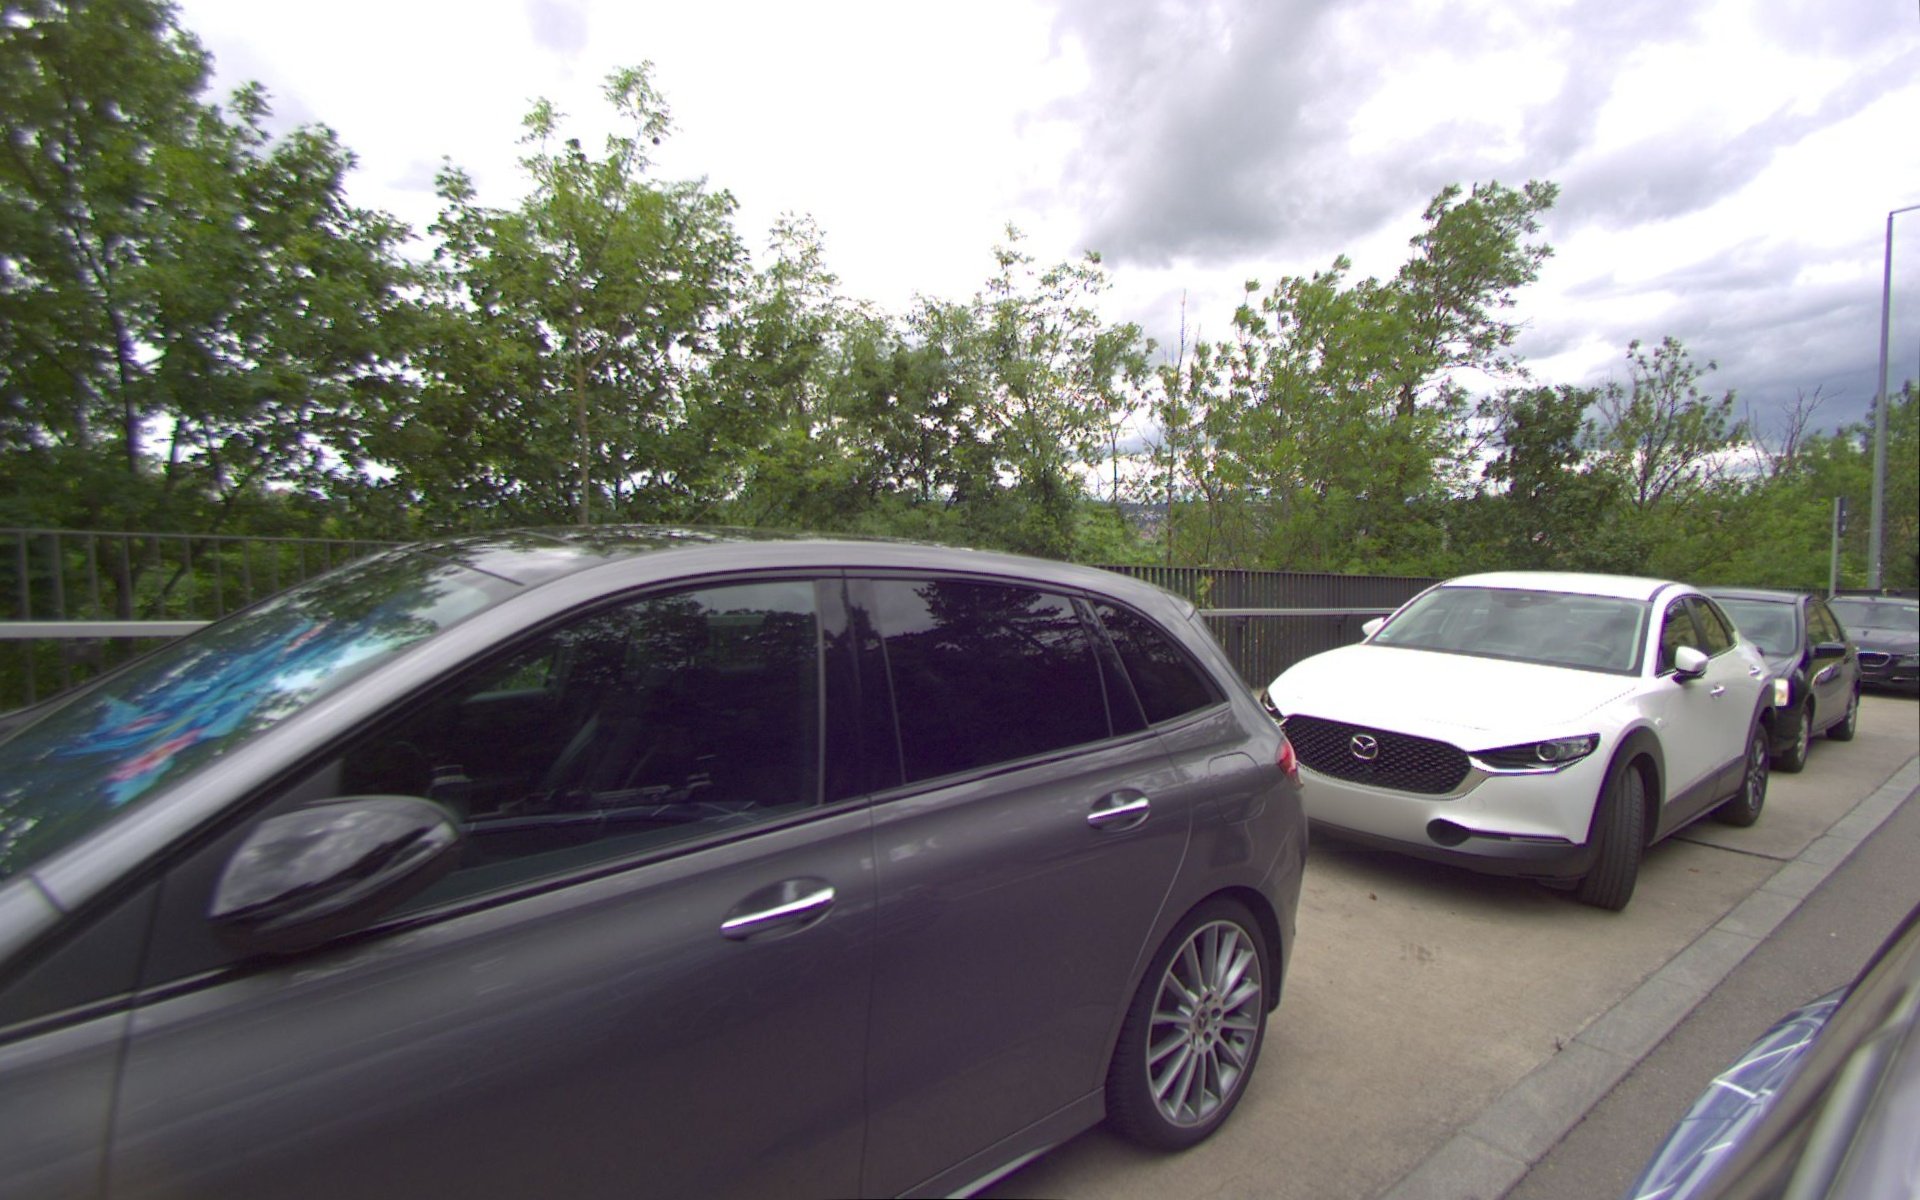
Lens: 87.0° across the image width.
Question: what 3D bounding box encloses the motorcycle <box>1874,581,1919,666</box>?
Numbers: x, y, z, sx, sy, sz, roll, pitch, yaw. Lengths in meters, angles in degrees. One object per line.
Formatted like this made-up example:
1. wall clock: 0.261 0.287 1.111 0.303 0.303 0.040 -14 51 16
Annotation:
1. motorcycle: 17.987 0.407 18.344 2.453 1.486 0.773 0 1 -12

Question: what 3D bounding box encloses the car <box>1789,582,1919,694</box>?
1. car: 14.279 0.498 15.446 4.245 1.418 1.827 -1 5 -42

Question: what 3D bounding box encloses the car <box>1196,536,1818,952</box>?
1. car: 3.503 0.476 6.021 4.544 1.587 1.730 -1 4 -41

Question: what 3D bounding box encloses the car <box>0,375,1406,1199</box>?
1. car: -0.899 0.466 2.327 4.350 1.562 1.761 -1 5 -41

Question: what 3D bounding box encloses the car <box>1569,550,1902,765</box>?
1. car: 7.612 0.392 9.788 4.181 1.590 1.663 -1 5 -41
